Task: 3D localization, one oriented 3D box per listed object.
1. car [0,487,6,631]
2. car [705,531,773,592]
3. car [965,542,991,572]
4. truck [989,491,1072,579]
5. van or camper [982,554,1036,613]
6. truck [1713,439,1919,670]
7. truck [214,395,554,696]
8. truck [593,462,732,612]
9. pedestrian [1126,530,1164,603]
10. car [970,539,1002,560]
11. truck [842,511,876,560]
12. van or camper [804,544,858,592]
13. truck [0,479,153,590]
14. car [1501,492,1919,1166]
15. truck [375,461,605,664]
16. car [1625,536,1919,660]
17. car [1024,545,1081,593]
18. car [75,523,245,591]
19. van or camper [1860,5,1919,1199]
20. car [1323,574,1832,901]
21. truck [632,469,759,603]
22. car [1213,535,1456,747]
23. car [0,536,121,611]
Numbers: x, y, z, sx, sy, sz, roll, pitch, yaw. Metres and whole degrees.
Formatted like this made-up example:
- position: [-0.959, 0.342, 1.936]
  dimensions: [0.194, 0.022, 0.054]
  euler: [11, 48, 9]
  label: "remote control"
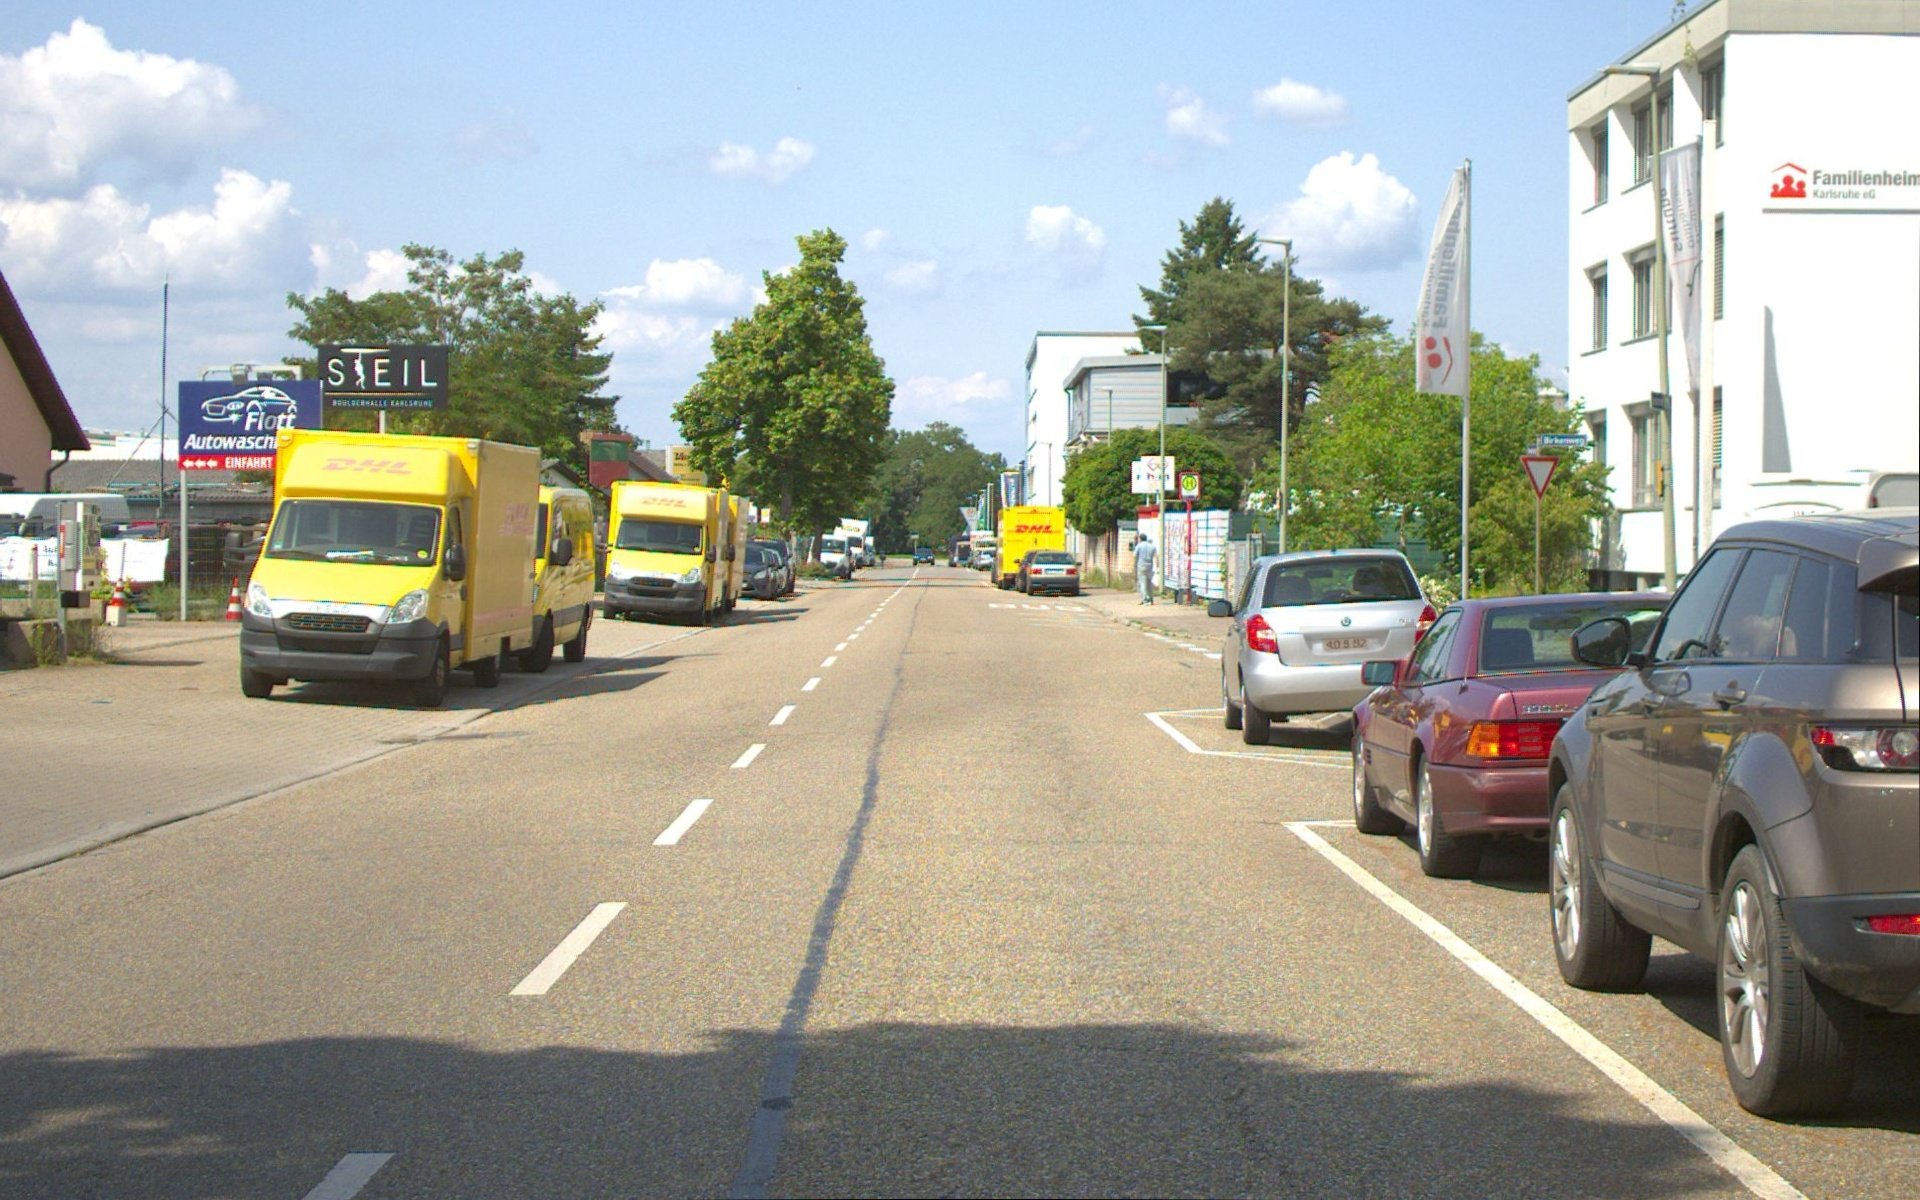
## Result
- position: [-11.986, -0.387, 38.772]
  dimensions: [1.828, 1.699, 4.709]
  euler: [0, 3, -9]
  label: "car"
- position: [-6.285, -1.120, 98.149]
  dimensions: [1.724, 1.598, 4.415]
  euler: [4, 1, -2]
  label: "car"
- position: [1.263, -2.977, 237.459]
  dimensions: [1.707, 2.082, 4.000]
  euler: [0, 1, -1]
  label: "car"
- position: [2.420, -2.278, 120.679]
  dimensions: [2.474, 2.930, 7.189]
  euler: [2, 1, -2]
  label: "truck"
- position: [1.979, -0.710, 140.532]
  dimensions: [1.993, 2.283, 5.448]
  euler: [2, 1, 0]
  label: "van or camper"
- position: [12.168, -0.513, 40.635]
  dimensions: [6.038, 2.568, 2.567]
  euler: [1, 1, -26]
  label: "truck"
- position: [-6.037, -0.598, 37.069]
  dimensions: [2.220, 2.847, 7.069]
  euler: [2, 1, 1]
  label: "truck"
- position: [-6.039, -1.256, 70.671]
  dimensions: [2.269, 2.845, 7.175]
  euler: [2, 0, -1]
  label: "truck"
- position: [4.488, -0.814, 83.300]
  dimensions: [0.715, 1.691, 0.522]
  euler: [-5, 1, -5]
  label: "pedestrian"
- position: [1.623, -3.156, 213.551]
  dimensions: [1.928, 1.306, 4.000]
  euler: [0, 1, 0]
  label: "car"
- position: [-6.626, -4.206, 225.408]
  dimensions: [2.029, 3.143, 6.500]
  euler: [0, 1, 0]
  label: "truck"
- position: [-6.731, -1.716, 180.356]
  dimensions: [2.174, 2.405, 7.697]
  euler: [1, 1, 3]
  label: "van or camper"
- position: [-21.072, -1.538, 80.011]
  dimensions: [2.112, 2.479, 5.717]
  euler: [1, 1, 13]
  label: "truck"
- position: [2.920, 0.524, 10.460]
  dimensions: [1.832, 1.634, 4.240]
  euler: [1, 1, 0]
  label: "car"
- position: [-5.940, -0.511, 44.185]
  dimensions: [1.993, 2.405, 6.064]
  euler: [1, 1, 1]
  label: "truck"
- position: [12.355, -0.024, 51.745]
  dimensions: [4.399, 1.746, 1.863]
  euler: [1, -1, 18]
  label: "car"
- position: [2.922, -0.994, 109.285]
  dimensions: [1.652, 1.382, 4.423]
  euler: [2, 2, 0]
  label: "car"
- position: [-16.446, -0.900, 70.812]
  dimensions: [1.811, 1.301, 3.866]
  euler: [0, 2, 15]
  label: "car"
- position: [3.113, 0.128, 4.752]
  dimensions: [1.993, 2.655, 5.770]
  euler: [1, 1, -2]
  label: "van or camper"
- position: [2.901, 0.577, 17.068]
  dimensions: [1.669, 1.330, 4.438]
  euler: [1, 1, -1]
  label: "car"
- position: [-6.108, -1.491, 80.284]
  dimensions: [2.316, 2.853, 7.105]
  euler: [3, 1, -1]
  label: "truck"
- position: [3.026, 0.279, 28.431]
  dimensions: [1.610, 1.575, 4.000]
  euler: [2, 1, 1]
  label: "car"
- position: [-19.293, -0.573, 72.099]
  dimensions: [1.766, 1.507, 3.915]
  euler: [1, 1, 12]
  label: "car"
